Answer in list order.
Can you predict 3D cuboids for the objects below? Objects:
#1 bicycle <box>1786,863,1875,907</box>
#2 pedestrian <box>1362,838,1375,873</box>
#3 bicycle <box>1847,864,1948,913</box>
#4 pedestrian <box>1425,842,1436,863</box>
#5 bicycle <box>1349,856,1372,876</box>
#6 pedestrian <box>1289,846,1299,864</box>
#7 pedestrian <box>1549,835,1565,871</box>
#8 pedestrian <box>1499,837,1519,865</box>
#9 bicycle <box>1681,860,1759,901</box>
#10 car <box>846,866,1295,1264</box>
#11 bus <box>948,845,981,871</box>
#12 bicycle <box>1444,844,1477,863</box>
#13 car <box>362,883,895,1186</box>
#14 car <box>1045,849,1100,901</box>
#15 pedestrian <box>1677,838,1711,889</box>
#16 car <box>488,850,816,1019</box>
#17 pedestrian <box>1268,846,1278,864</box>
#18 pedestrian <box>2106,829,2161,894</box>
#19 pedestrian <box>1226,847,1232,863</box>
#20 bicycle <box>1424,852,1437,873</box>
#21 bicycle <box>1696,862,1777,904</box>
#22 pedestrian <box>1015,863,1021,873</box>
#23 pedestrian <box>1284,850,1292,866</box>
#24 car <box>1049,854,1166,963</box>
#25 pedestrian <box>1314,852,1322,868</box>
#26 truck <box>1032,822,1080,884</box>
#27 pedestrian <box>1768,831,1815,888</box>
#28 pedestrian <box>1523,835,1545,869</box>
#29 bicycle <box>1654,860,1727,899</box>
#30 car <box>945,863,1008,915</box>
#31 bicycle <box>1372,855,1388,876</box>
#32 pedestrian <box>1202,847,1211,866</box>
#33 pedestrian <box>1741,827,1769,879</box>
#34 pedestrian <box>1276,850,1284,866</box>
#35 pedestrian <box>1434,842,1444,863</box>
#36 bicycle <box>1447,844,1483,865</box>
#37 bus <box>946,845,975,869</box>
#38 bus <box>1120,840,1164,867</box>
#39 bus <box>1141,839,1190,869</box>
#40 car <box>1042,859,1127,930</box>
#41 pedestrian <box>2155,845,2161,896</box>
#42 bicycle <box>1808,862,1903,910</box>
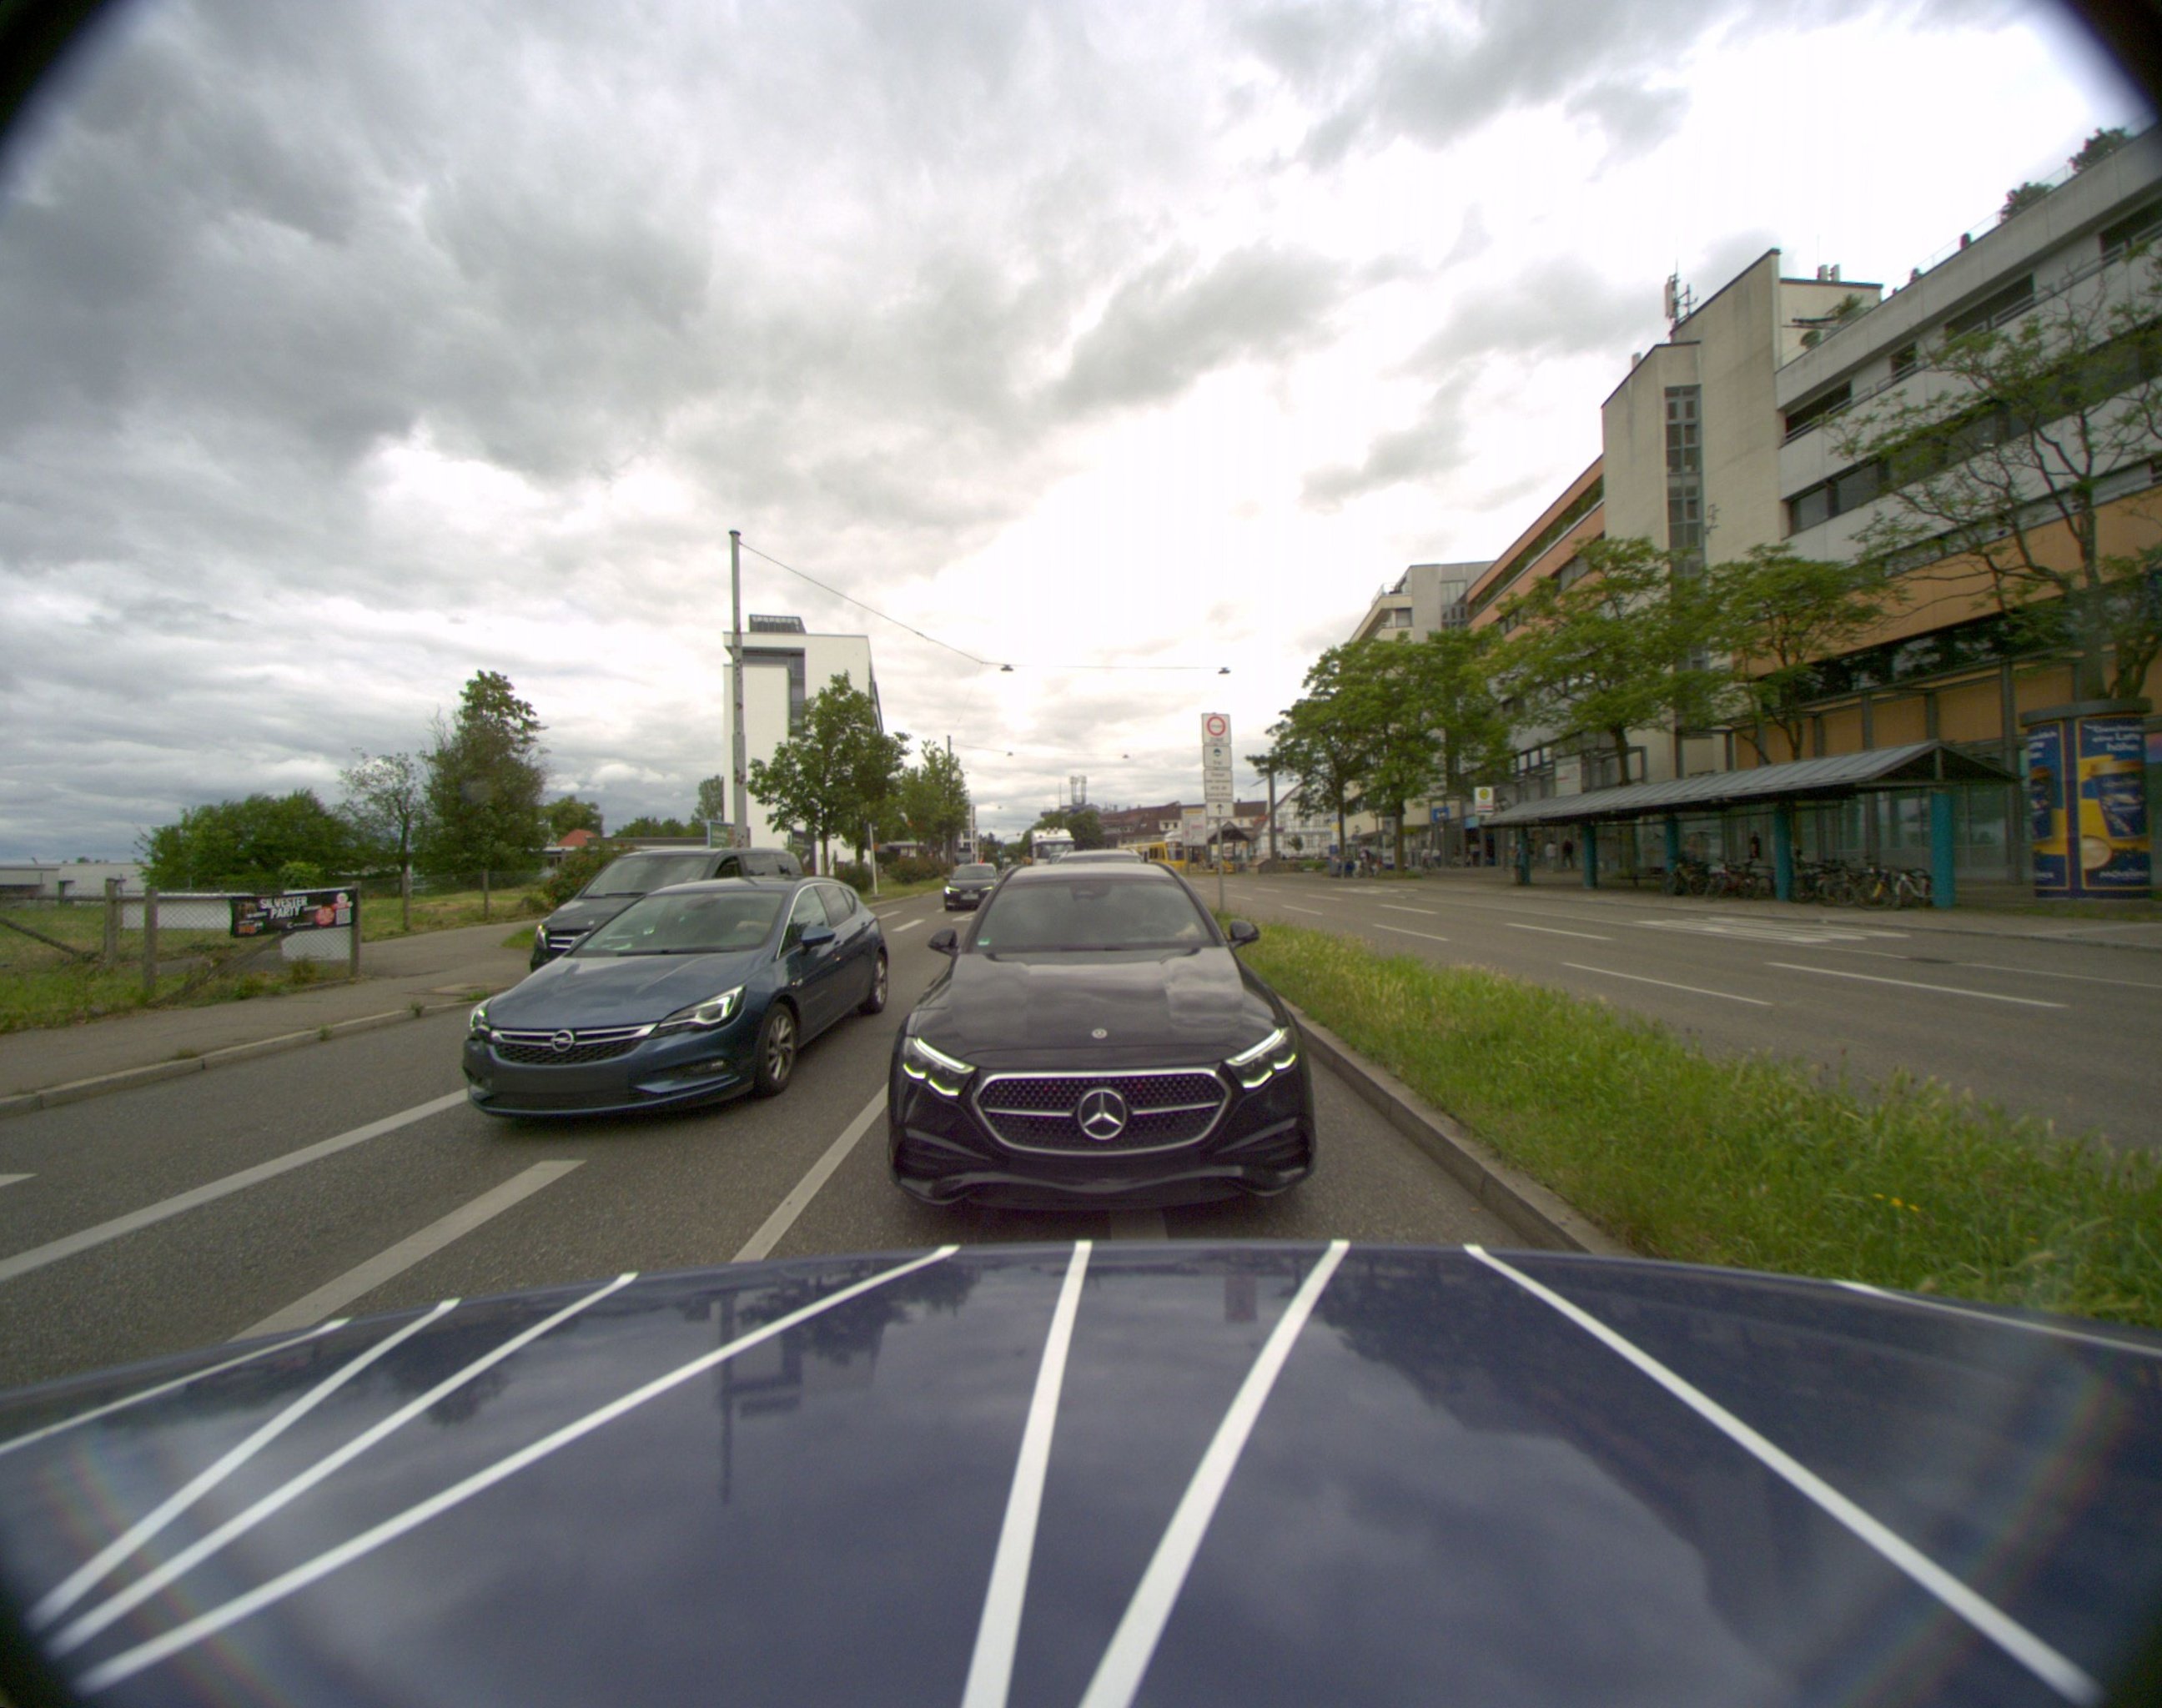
[{"bbox_3d":[19.027,0.774,19.312,1.735,1.035,0.549,-2,1,-2],"label":"bicycle"},{"bbox_3d":[18.723,0.090,49.494,0.590,2.294,0.608,-1,1,-2],"label":"pedestrian"},{"bbox_3d":[18.687,0.784,17.401,1.735,1.035,0.549,-2,1,-2],"label":"bicycle"},{"bbox_3d":[25.223,-0.113,54.841,0.555,1.485,0.454,-1,1,8],"label":"pedestrian"},{"bbox_3d":[15.481,0.654,42.021,0.593,1.071,2.041,0,1,38],"label":"bicycle"},{"bbox_3d":[23.867,0.088,85.002,0.879,2.002,1.010,-1,1,6],"label":"pedestrian"},{"bbox_3d":[24.101,-0.049,38.492,0.648,1.799,0.761,0,1,34],"label":"pedestrian"},{"bbox_3d":[25.346,-0.168,44.993,0.765,1.673,0.752,-1,1,1],"label":"pedestrian"},{"bbox_3d":[18.286,0.743,21.746,1.735,1.035,0.549,-4,1,-2],"label":"bicycle"},{"bbox_3d":[-0.051,0.885,5.194,1.793,1.507,4.249,-1,0,0],"label":"car"},{"bbox_3d":[-12.813,0.389,82.731,2.969,2.616,12.137,-2,1,-11],"label":"bus"},{"bbox_3d":[27.759,-0.028,55.555,2.138,1.358,0.620,-2,1,26],"label":"bicycle"},{"bbox_3d":[-2.916,1.047,6.085,1.826,1.402,4.000,-2,0,0],"label":"car"},{"bbox_3d":[-0.365,0.723,28.348,1.865,1.773,3.999,-1,0,-2],"label":"car"},{"bbox_3d":[21.645,0.335,26.838,0.531,1.776,0.770,-1,1,-7],"label":"pedestrian"},{"bbox_3d":[-5.704,0.910,11.009,1.954,1.829,4.709,-3,0,1],"label":"car"},{"bbox_3d":[21.896,0.146,86.591,0.879,2.002,1.010,-1,1,6],"label":"pedestrian"},{"bbox_3d":[24.603,0.169,17.729,0.569,1.494,0.622,-1,1,-9],"label":"pedestrian"},{"bbox_3d":[19.071,0.107,97.818,0.742,2.002,0.939,-1,1,11],"label":"pedestrian"},{"bbox_3d":[19.489,0.468,42.388,0.593,1.119,2.040,0,1,24],"label":"bicycle"},{"bbox_3d":[17.950,0.790,20.814,1.735,1.035,0.549,-3,1,-2],"label":"bicycle"},{"bbox_3d":[-12.256,2.683,147.686,0.975,2.002,0.991,-2,1,-13],"label":"pedestrian"},{"bbox_3d":[20.258,0.363,74.430,0.577,1.533,0.583,-1,1,-8],"label":"pedestrian"},{"bbox_3d":[0.394,0.821,13.486,1.734,1.601,4.000,-2,0,0],"label":"car"},{"bbox_3d":[22.347,0.574,71.664,0.577,1.533,0.583,-1,1,-8],"label":"pedestrian"},{"bbox_3d":[-1.584,-0.065,44.349,2.490,3.258,7.428,-1,0,-4],"label":"truck"},{"bbox_3d":[20.944,0.150,22.396,0.678,1.640,0.721,-2,1,-3],"label":"pedestrian"},{"bbox_3d":[24.786,-0.113,41.578,0.765,1.835,0.752,-1,1,1],"label":"pedestrian"},{"bbox_3d":[18.207,0.748,22.706,1.735,1.035,0.549,-3,1,-2],"label":"bicycle"},{"bbox_3d":[-3.354,1.092,24.987,1.665,1.448,3.920,-2,0,-3],"label":"car"},{"bbox_3d":[16.404,0.621,41.649,0.593,1.071,2.041,0,1,29],"label":"bicycle"},{"bbox_3d":[12.813,0.242,77.735,0.637,2.002,0.667,-1,1,-20],"label":"pedestrian"},{"bbox_3d":[26.192,-0.043,29.539,0.566,2.002,0.611,-1,1,6],"label":"pedestrian"},{"bbox_3d":[19.498,0.390,74.312,0.577,1.533,0.583,-1,1,-8],"label":"pedestrian"},{"bbox_3d":[25.815,-0.136,54.770,0.555,1.485,0.454,-1,1,8],"label":"pedestrian"},{"bbox_3d":[26.996,0.029,53.403,2.139,1.367,0.620,-2,1,18],"label":"bicycle"},{"bbox_3d":[-15.219,0.344,95.054,2.969,2.616,12.911,-2,1,-11],"label":"bus"},{"bbox_3d":[6.938,-0.066,87.954,2.556,2.966,9.790,-1,0,-11],"label":"bus"},{"bbox_3d":[8.702,0.003,79.018,2.556,2.966,8.498,-1,0,-11],"label":"bus"},{"bbox_3d":[0.047,0.911,18.912,1.865,1.520,3.999,-1,0,-1],"label":"car"},{"bbox_3d":[25.374,0.386,17.492,0.422,1.174,0.622,-1,1,-9],"label":"pedestrian"},{"bbox_3d":[18.628,0.752,18.287,1.735,1.035,0.549,-3,1,-2],"label":"bicycle"}]
